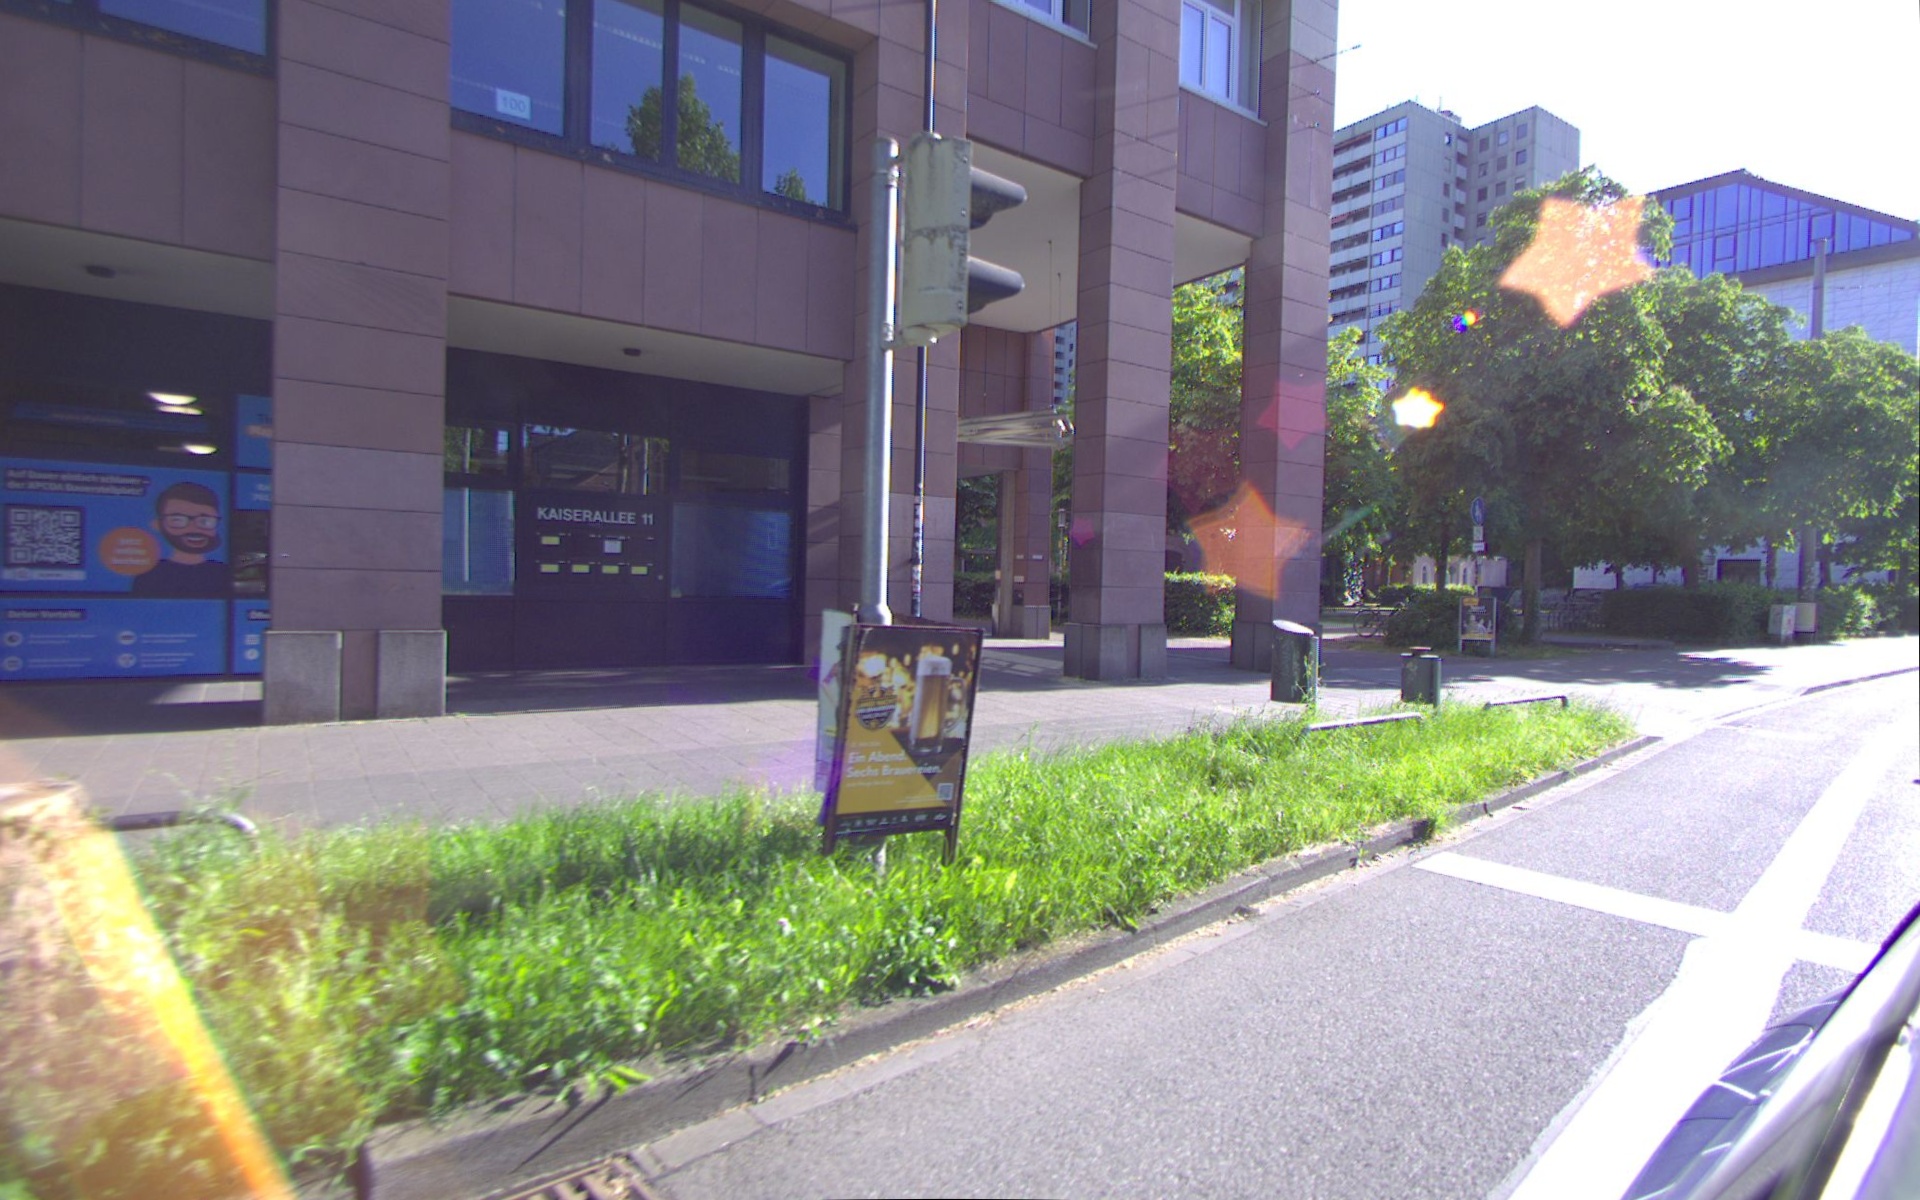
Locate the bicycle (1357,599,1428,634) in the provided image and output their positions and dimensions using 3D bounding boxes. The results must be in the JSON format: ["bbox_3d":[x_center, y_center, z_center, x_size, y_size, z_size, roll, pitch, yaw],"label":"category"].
[{"bbox_3d":[10.986,0.419,25.731,1.660,0.873,0.318,0,0,26],"label":"bicycle"}]
